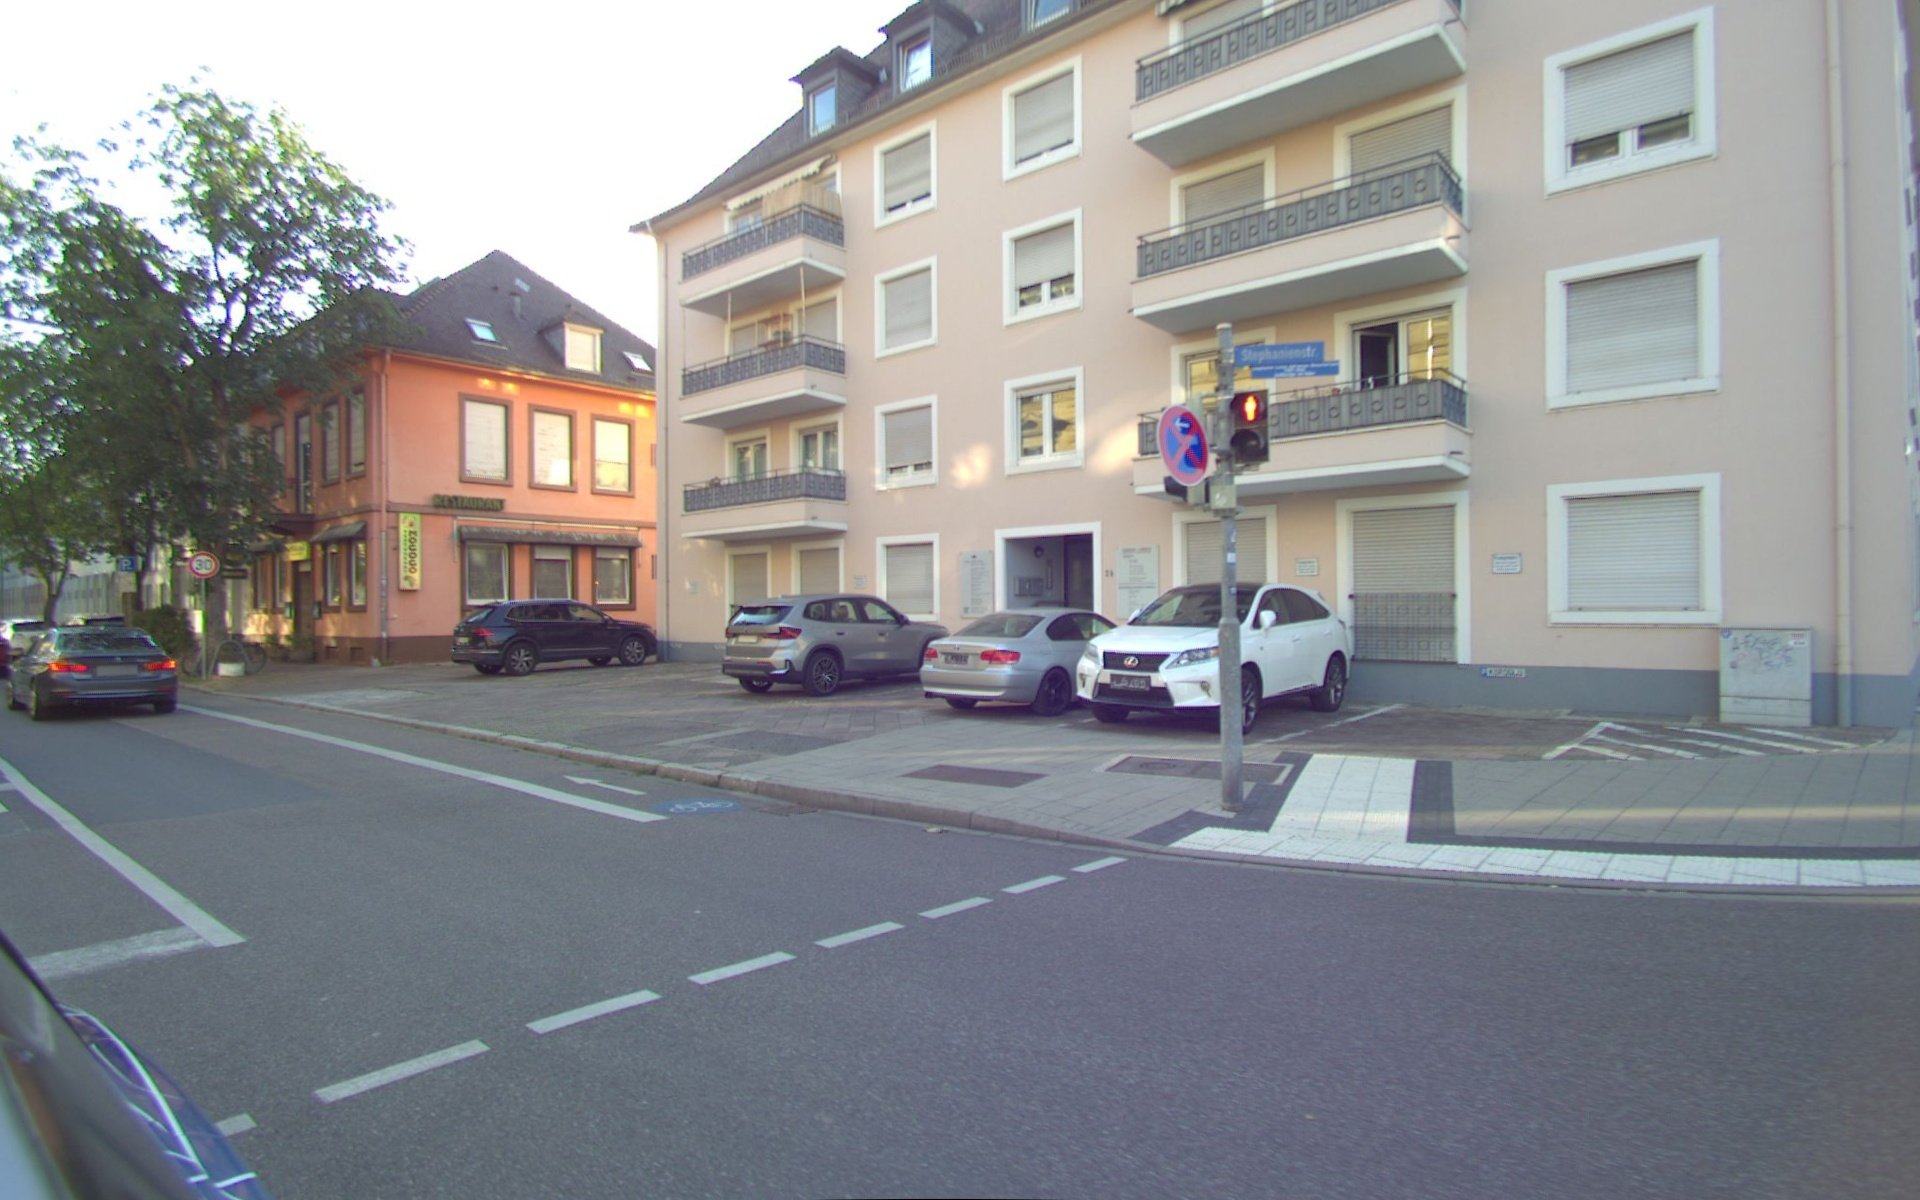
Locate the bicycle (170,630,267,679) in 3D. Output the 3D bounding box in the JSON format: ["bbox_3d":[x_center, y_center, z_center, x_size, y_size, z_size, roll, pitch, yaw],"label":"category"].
[{"bbox_3d":[-18.449,1.330,25.220,0.609,1.112,1.850,-1,-1,34],"label":"bicycle"}]

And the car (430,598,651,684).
[{"bbox_3d":[-9.629,0.878,23.516,1.862,1.678,4.374,-2,1,40],"label":"car"}]

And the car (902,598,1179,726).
[{"bbox_3d":[1.278,0.752,14.178,1.734,1.391,4.224,-2,1,40],"label":"car"}]

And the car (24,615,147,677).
[{"bbox_3d":[-28.804,1.481,33.296,5.037,1.772,1.813,-1,3,35],"label":"car"}]

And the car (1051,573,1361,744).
[{"bbox_3d":[3.173,0.562,12.389,1.940,1.653,4.396,-2,1,40],"label":"car"}]

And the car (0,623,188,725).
[{"bbox_3d":[-14.527,1.129,16.874,4.421,1.470,1.763,-1,-2,41],"label":"car"}]

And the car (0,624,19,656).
[{"bbox_3d":[-51.760,2.105,52.432,1.798,1.702,4.178,-1,-1,38],"label":"car"}]

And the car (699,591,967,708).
[{"bbox_3d":[-2.019,0.741,17.244,1.914,1.617,4.374,-2,1,40],"label":"car"}]

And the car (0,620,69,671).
[{"bbox_3d":[-35.638,1.686,38.263,4.646,1.680,1.813,-1,3,35],"label":"car"}]

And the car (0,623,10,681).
[{"bbox_3d":[-28.196,1.444,28.158,4.840,1.557,1.813,-2,-2,38],"label":"car"}]
